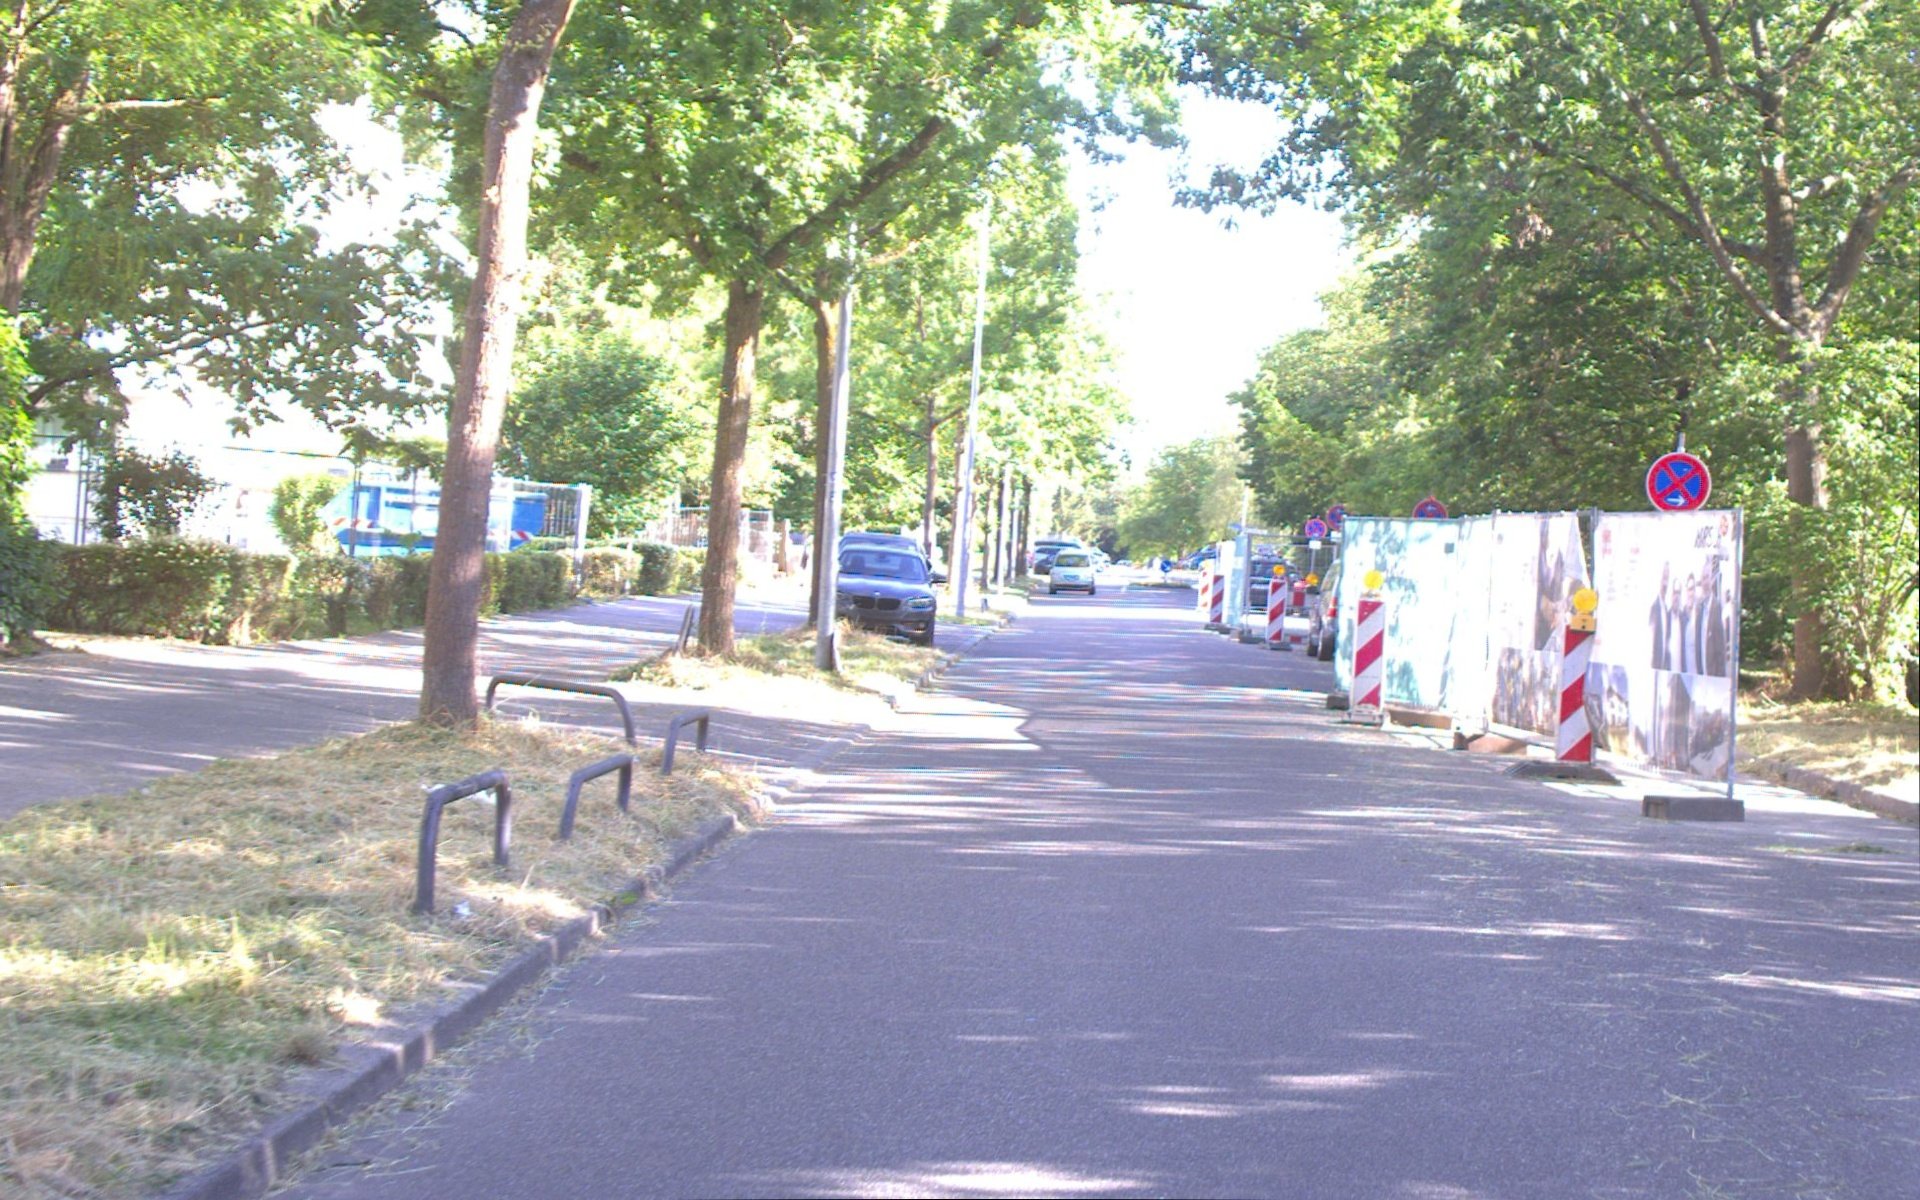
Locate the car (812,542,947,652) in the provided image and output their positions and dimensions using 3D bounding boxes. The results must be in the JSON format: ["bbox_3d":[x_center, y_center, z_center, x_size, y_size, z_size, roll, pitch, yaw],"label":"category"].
[{"bbox_3d":[-1.159,-0.071,51.098,1.751,1.473,3.836,3,1,1],"label":"car"}]

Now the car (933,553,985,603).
[{"bbox_3d":[-0.022,-0.630,98.198,1.361,1.297,3.481,4,0,0],"label":"car"}]

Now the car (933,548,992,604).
[{"bbox_3d":[0.057,-0.592,86.442,1.361,1.297,3.481,4,0,0],"label":"car"}]

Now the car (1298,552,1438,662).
[{"bbox_3d":[6.456,0.088,54.706,1.753,1.590,3.657,3,1,1],"label":"car"}]

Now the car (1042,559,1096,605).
[{"bbox_3d":[4.093,-0.681,129.836,1.710,1.579,4.000,4,0,-1],"label":"car"}]

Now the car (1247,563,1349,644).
[{"bbox_3d":[5.941,0.056,60.641,1.361,1.297,3.481,4,0,0],"label":"car"}]

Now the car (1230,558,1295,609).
[{"bbox_3d":[9.078,-0.513,103.457,1.794,1.405,4.000,3,1,4],"label":"car"}]

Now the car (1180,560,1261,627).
[{"bbox_3d":[5.561,-0.148,73.637,1.361,1.297,3.481,4,0,0],"label":"car"}]
